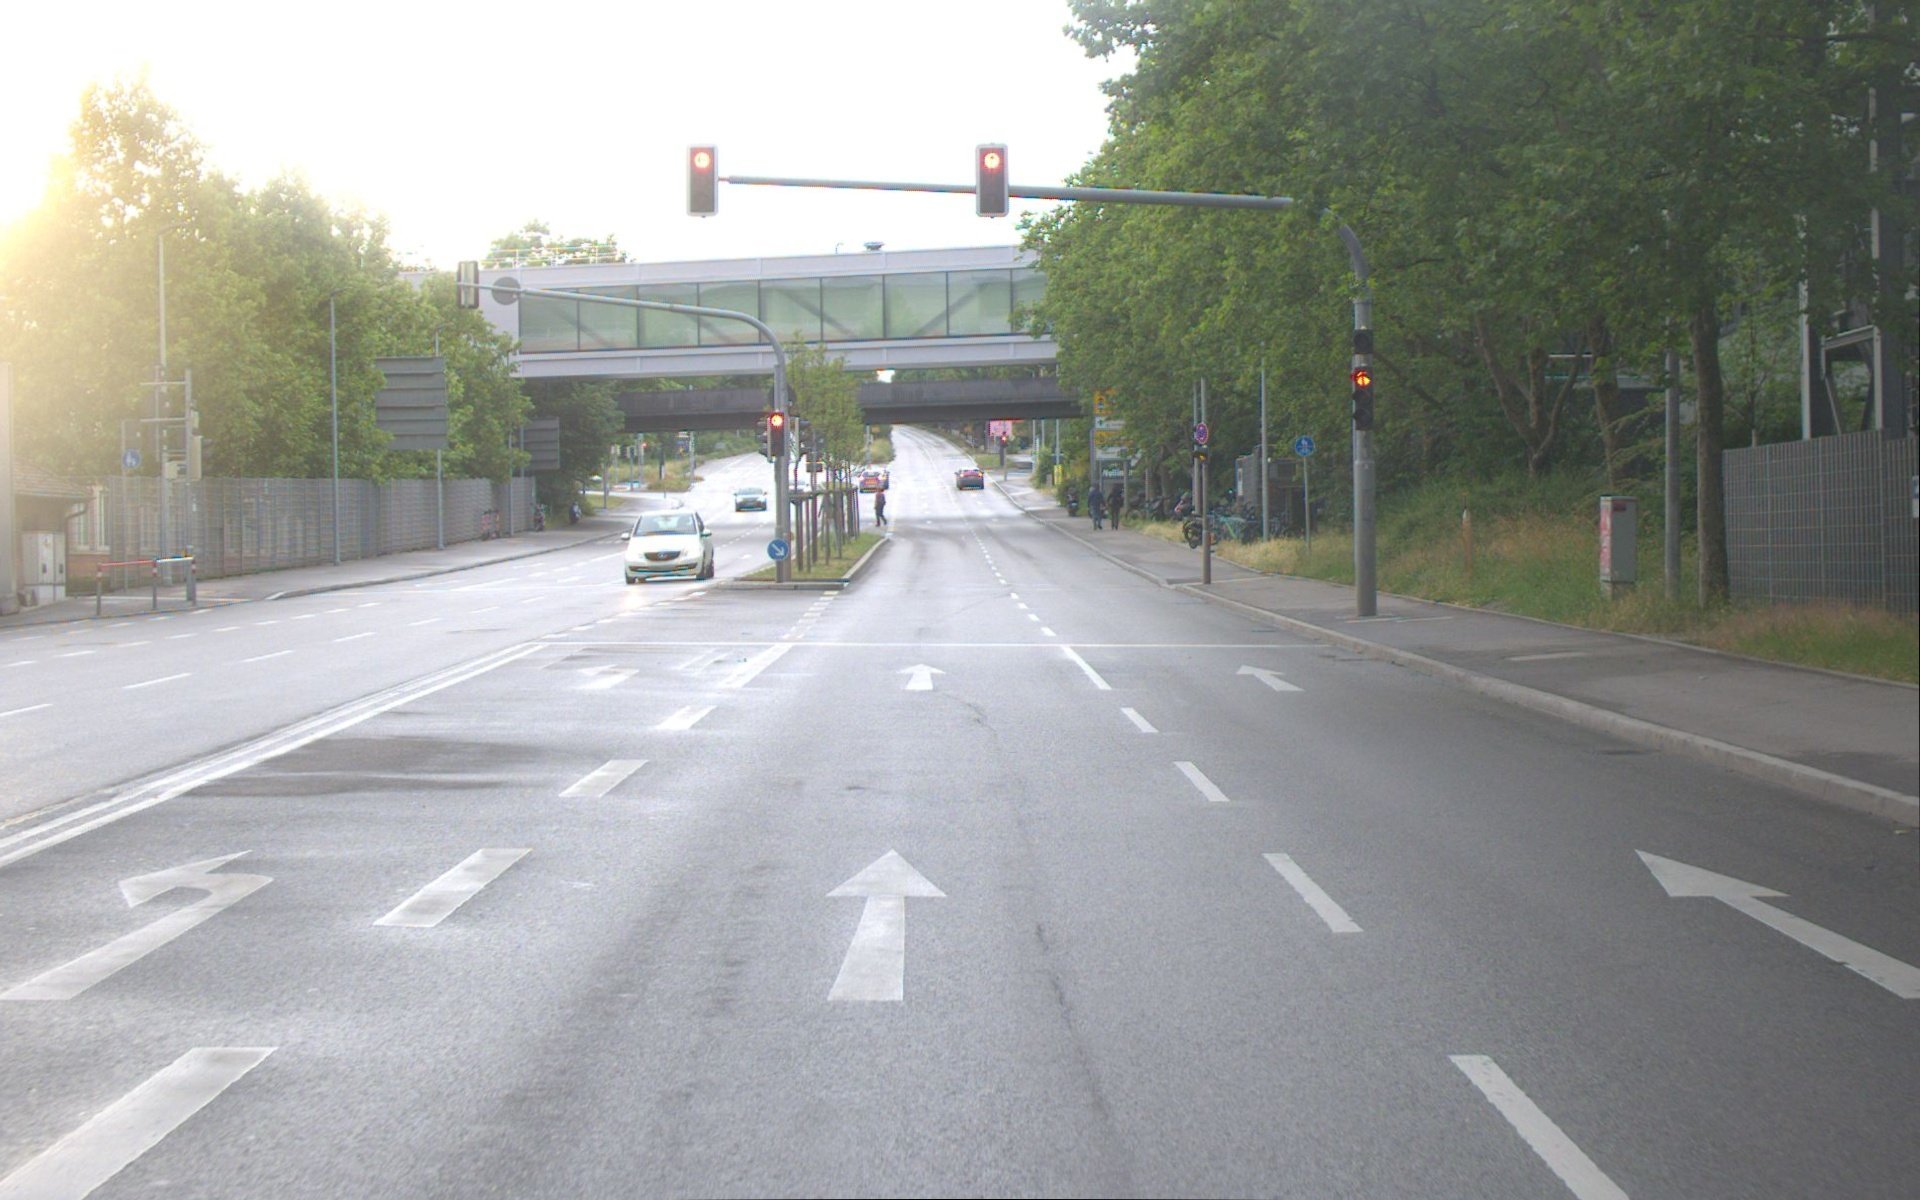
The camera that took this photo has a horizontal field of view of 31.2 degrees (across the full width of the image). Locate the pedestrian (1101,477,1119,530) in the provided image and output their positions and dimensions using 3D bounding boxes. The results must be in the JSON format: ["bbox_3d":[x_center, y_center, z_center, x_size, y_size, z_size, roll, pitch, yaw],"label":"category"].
[{"bbox_3d":[5.711,-3.693,131.105,0.622,2.007,0.605,-2,1,1],"label":"pedestrian"}]

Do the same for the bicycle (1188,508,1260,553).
[{"bbox_3d":[7.488,-1.972,97.672,1.990,1.237,0.541,1,0,1],"label":"bicycle"}]

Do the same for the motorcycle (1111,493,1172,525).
[{"bbox_3d":[7.307,-3.651,138.357,2.369,1.198,0.722,-2,1,8],"label":"motorcycle"}]

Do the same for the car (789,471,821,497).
[{"bbox_3d":[-10.255,-7.682,227.779,1.877,1.619,3.779,-1,2,0],"label":"car"}]

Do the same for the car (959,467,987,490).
[{"bbox_3d":[0.935,-8.458,239.937,1.875,1.492,4.068,1,1,0],"label":"car"}]

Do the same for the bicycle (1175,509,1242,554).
[{"bbox_3d":[7.600,-2.090,105.239,1.990,1.324,0.576,1,0,1],"label":"bicycle"}]

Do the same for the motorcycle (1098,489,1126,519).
[{"bbox_3d":[6.941,-4.382,157.243,0.790,1.307,2.377,-2,1,-8],"label":"motorcycle"}]

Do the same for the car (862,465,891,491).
[{"bbox_3d":[-6.021,-8.795,248.668,1.884,1.756,3.969,1,1,0],"label":"car"}]

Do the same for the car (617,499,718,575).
[{"bbox_3d":[-6.525,-1.433,76.945,1.877,1.619,3.779,-1,2,0],"label":"car"}]

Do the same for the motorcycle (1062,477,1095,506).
[{"bbox_3d":[5.590,-5.123,162.299,0.790,1.307,2.377,-2,2,-18],"label":"motorcycle"}]

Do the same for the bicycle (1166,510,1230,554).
[{"bbox_3d":[7.419,-2.114,107.190,1.960,1.324,0.576,1,0,1],"label":"bicycle"}]

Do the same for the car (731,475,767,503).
[{"bbox_3d":[-12.517,-6.568,204.047,1.877,1.619,3.779,-1,2,0],"label":"car"}]

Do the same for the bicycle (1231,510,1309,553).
[{"bbox_3d":[8.161,-1.812,90.675,1.990,1.091,0.541,1,0,1],"label":"bicycle"}]

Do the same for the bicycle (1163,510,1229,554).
[{"bbox_3d":[7.275,-2.093,105.955,1.990,1.324,0.576,1,0,1],"label":"bicycle"}]

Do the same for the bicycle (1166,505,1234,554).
[{"bbox_3d":[7.297,-2.139,104.388,1.990,1.425,0.723,1,0,1],"label":"bicycle"}]

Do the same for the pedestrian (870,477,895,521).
[{"bbox_3d":[-3.542,-4.618,157.478,0.873,1.997,0.854,-1,1,18],"label":"pedestrian"}]

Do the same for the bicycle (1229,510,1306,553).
[{"bbox_3d":[8.164,-1.817,91.244,1.990,1.091,0.541,1,0,1],"label":"bicycle"}]

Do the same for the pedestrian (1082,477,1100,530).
[{"bbox_3d":[5.007,-3.678,131.436,0.622,2.007,0.605,-2,1,1],"label":"pedestrian"}]

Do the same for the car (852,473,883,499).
[{"bbox_3d":[-6.554,-8.081,243.678,1.993,1.756,4.000,1,1,0],"label":"car"}]

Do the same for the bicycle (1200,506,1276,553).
[{"bbox_3d":[7.487,-1.909,92.712,1.990,1.212,0.541,1,0,1],"label":"bicycle"}]
